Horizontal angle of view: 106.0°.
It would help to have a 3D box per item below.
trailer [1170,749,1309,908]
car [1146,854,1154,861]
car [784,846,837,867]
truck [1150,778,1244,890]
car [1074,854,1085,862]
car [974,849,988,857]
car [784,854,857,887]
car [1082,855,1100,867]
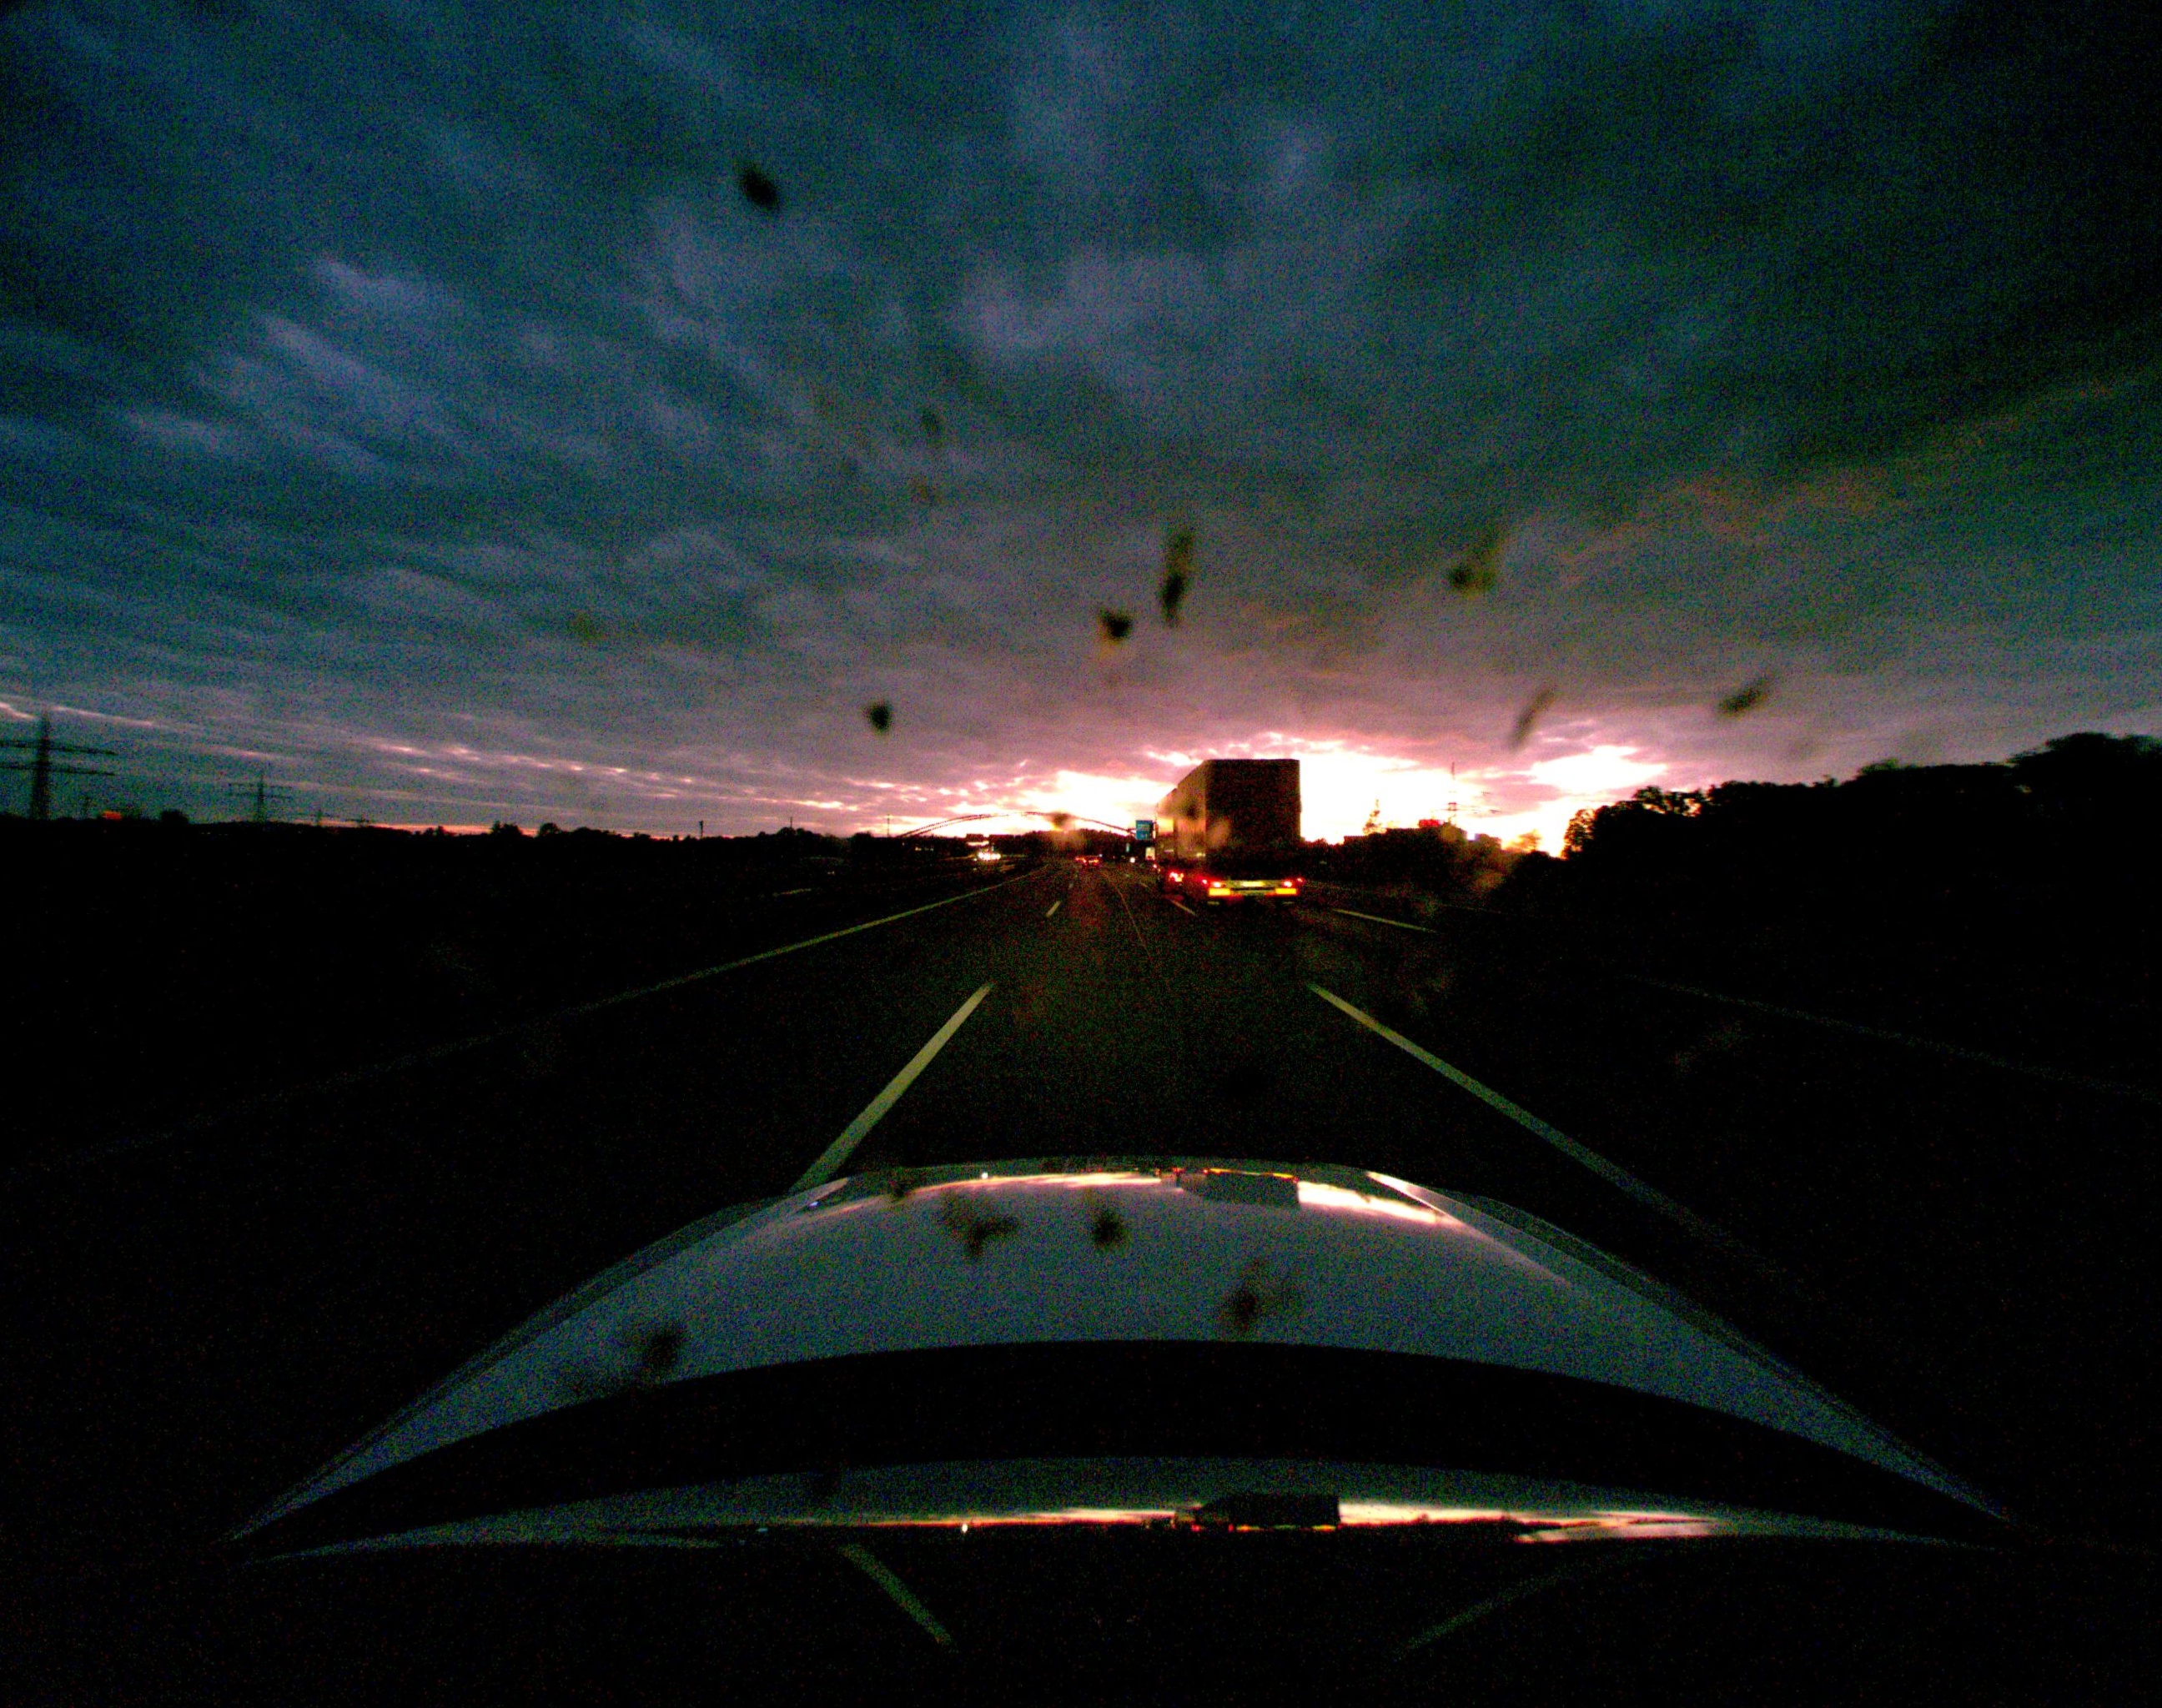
[{"bbox_3d":[4.572,-0.673,25.386,2.712,4.071,8.831,0,0,1],"label":"trailer"},{"bbox_3d":[18.181,0.859,214.572,1.985,1.717,4.003,0,-2,3],"label":"car"},{"bbox_3d":[-16.231,0.143,49.051,1.715,1.227,4.184,0,0,1],"label":"car"},{"bbox_3d":[4.701,-0.755,35.077,2.681,4.071,10.521,0,0,1],"label":"truck"},{"bbox_3d":[-0.290,0.779,149.866,1.682,1.401,3.411,-1,-2,3],"label":"car"},{"bbox_3d":[-17.325,-0.132,141.428,1.989,1.404,4.792,0,0,-3],"label":"car"},{"bbox_3d":[-11.928,0.706,37.639,1.987,1.404,4.329,0,0,0],"label":"car"},{"bbox_3d":[1.107,0.843,93.973,1.687,1.401,3.402,0,-1,-5],"label":"car"}]
